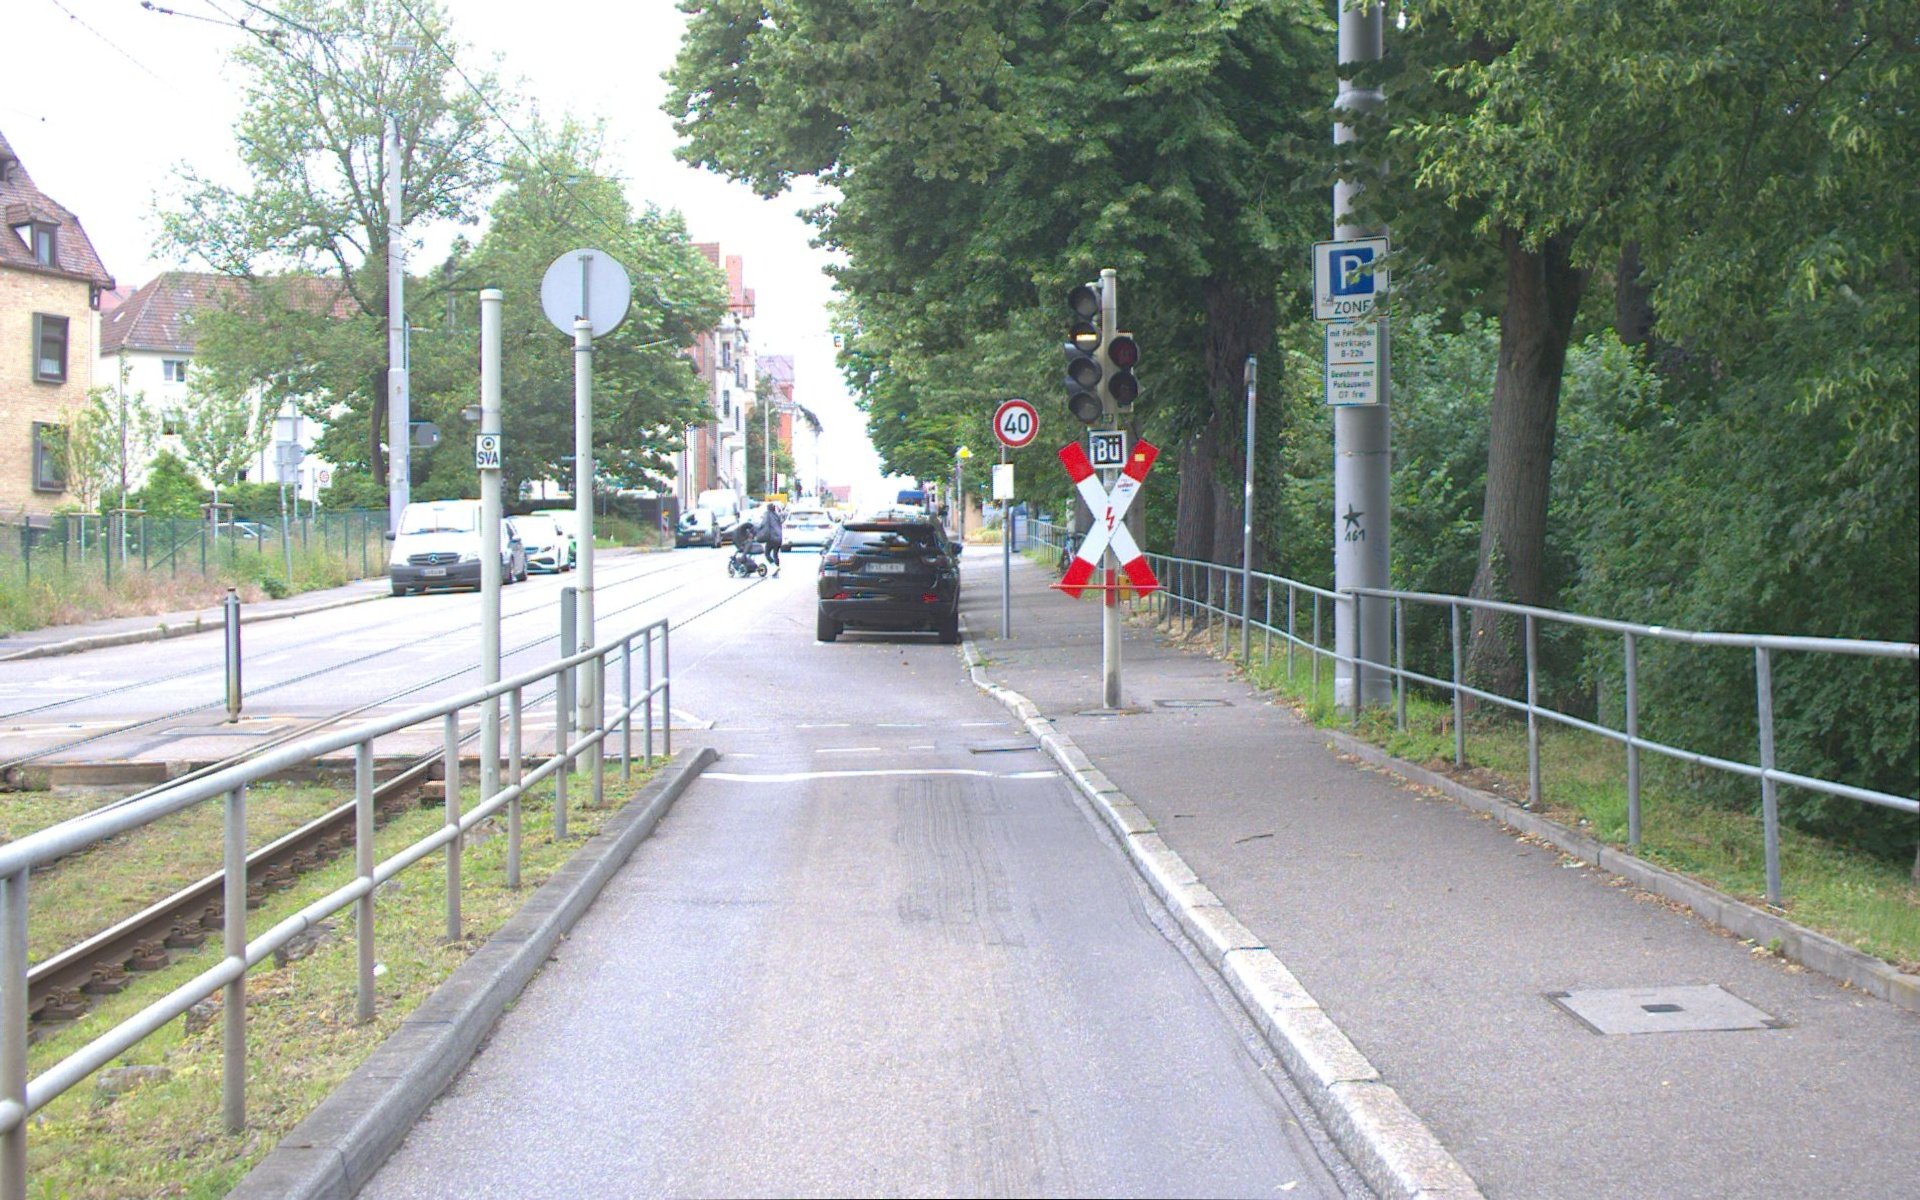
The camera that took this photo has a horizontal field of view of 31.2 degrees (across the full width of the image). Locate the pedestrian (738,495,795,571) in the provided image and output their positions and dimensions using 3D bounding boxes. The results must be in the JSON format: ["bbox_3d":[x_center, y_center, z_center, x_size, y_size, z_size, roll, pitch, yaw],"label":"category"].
[{"bbox_3d":[-4.171,-1.449,74.126,0.915,1.623,0.805,0,0,41],"label":"pedestrian"}]

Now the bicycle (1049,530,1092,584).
[{"bbox_3d":[2.046,-0.796,63.740,0.427,0.972,1.795,0,0,-10],"label":"bicycle"}]

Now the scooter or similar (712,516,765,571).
[{"bbox_3d":[-4.812,-1.226,74.684,0.838,1.192,0.805,0,0,41],"label":"scooter or similar"}]

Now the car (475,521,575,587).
[{"bbox_3d":[-10.725,-1.144,84.950,1.885,1.521,4.664,-2,1,-1],"label":"car"}]

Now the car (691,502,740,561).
[{"bbox_3d":[-11.772,-3.278,165.683,2.230,2.755,5.800,0,0,-3],"label":"car"}]

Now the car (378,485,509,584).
[{"bbox_3d":[-10.599,-1.323,70.889,2.035,1.875,4.886,-3,1,-2],"label":"car"}]

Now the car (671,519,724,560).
[{"bbox_3d":[-11.536,-2.652,151.198,1.993,1.802,4.000,0,0,1],"label":"car"}]

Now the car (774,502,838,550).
[{"bbox_3d":[-5.022,-2.412,112.623,1.993,1.493,4.312,0,0,-1],"label":"car"}]

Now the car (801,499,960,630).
[{"bbox_3d":[-0.991,-0.492,44.992,1.904,1.609,4.600,1,1,1],"label":"car"}]

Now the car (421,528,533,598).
[{"bbox_3d":[-10.735,-0.844,76.663,1.896,1.428,4.512,-2,2,-1],"label":"car"}]

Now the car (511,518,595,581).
[{"bbox_3d":[-10.727,-1.351,90.799,1.723,1.574,4.181,-2,1,0],"label":"car"}]
